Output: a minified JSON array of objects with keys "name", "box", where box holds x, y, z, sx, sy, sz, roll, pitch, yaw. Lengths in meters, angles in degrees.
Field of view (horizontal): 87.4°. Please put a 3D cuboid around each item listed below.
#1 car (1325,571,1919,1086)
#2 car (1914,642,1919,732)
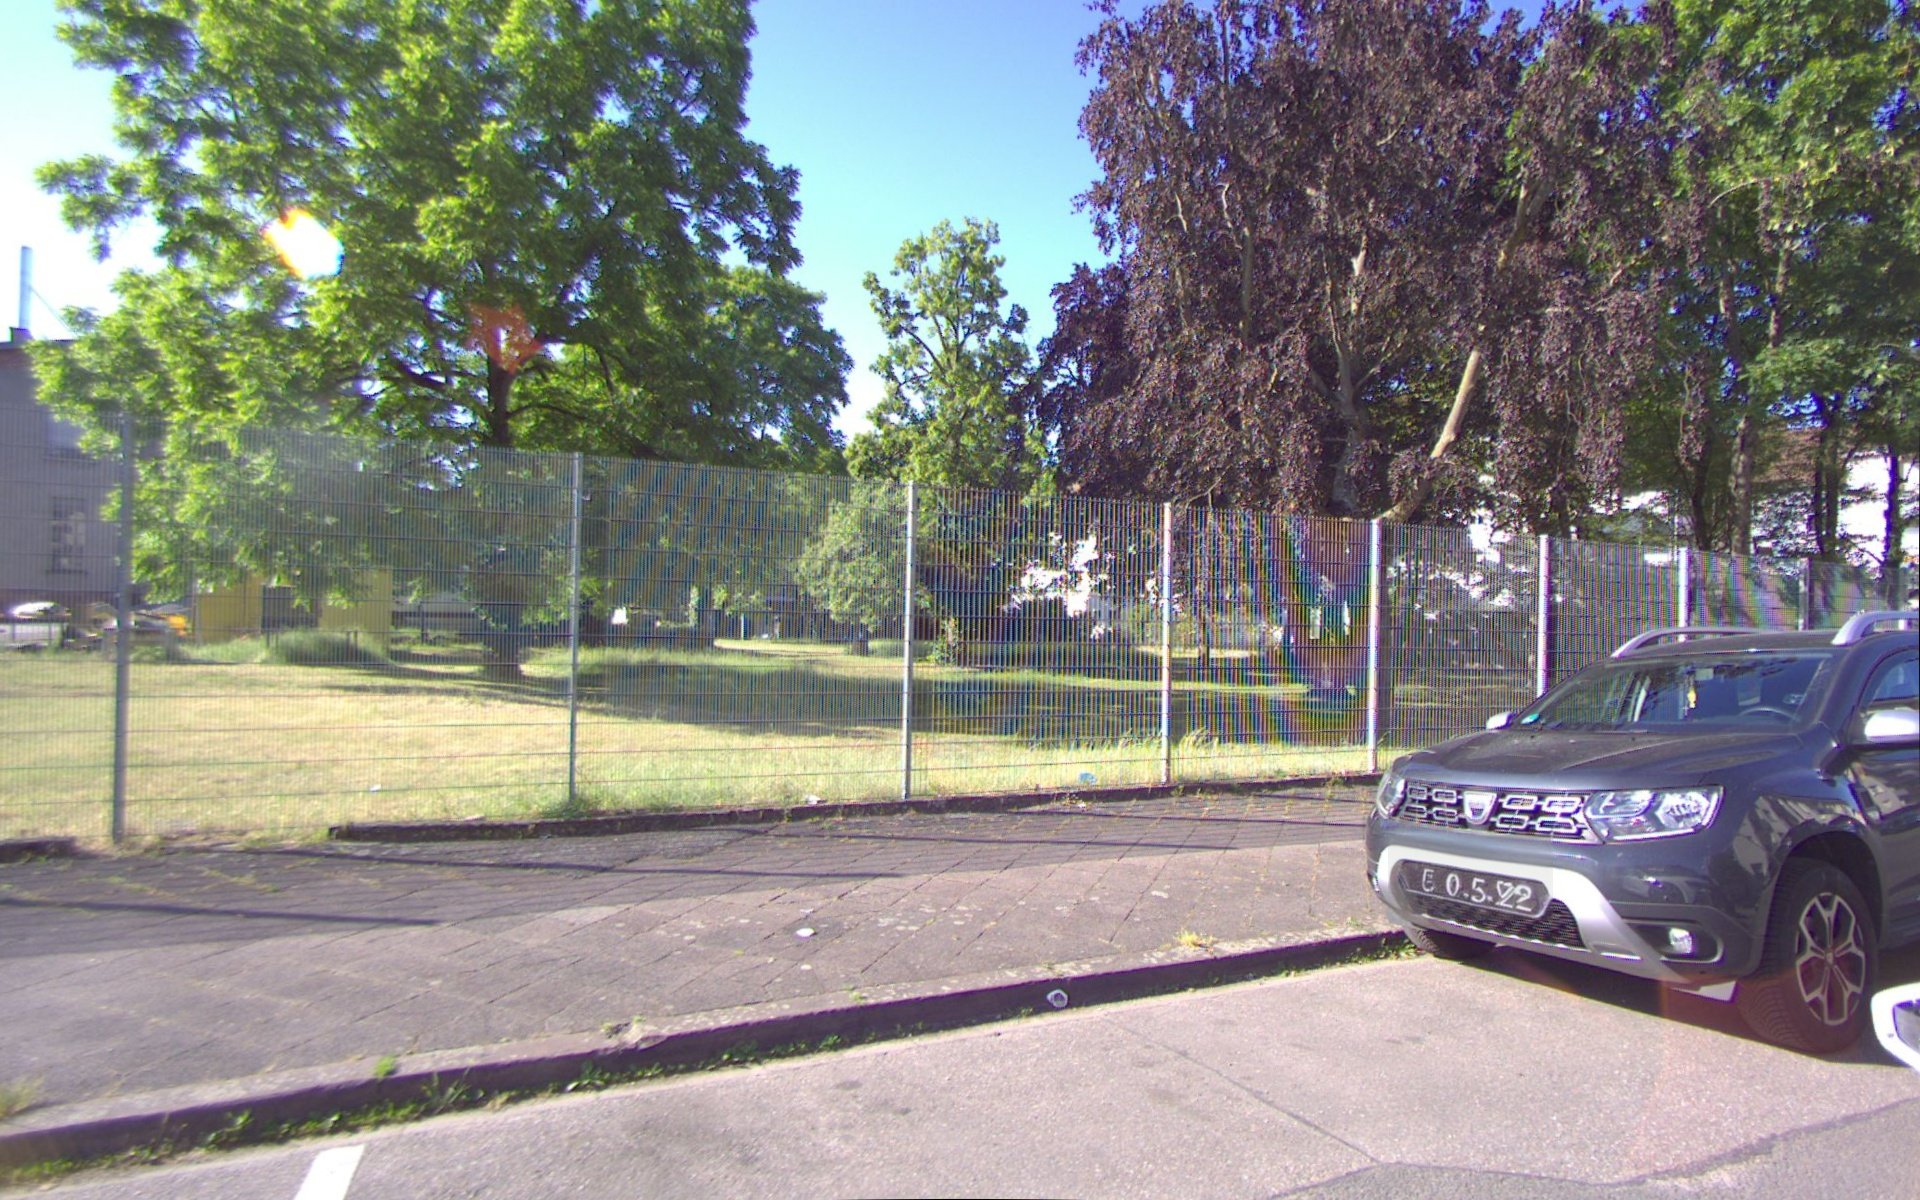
[{"name":"car","box":[3.999,0.878,4.984,4.108,1.685,1.708,2,-5,-25]},{"name":"car","box":[8.683,1.134,7.103,3.567,1.664,1.560,2,-5,-25]}]
